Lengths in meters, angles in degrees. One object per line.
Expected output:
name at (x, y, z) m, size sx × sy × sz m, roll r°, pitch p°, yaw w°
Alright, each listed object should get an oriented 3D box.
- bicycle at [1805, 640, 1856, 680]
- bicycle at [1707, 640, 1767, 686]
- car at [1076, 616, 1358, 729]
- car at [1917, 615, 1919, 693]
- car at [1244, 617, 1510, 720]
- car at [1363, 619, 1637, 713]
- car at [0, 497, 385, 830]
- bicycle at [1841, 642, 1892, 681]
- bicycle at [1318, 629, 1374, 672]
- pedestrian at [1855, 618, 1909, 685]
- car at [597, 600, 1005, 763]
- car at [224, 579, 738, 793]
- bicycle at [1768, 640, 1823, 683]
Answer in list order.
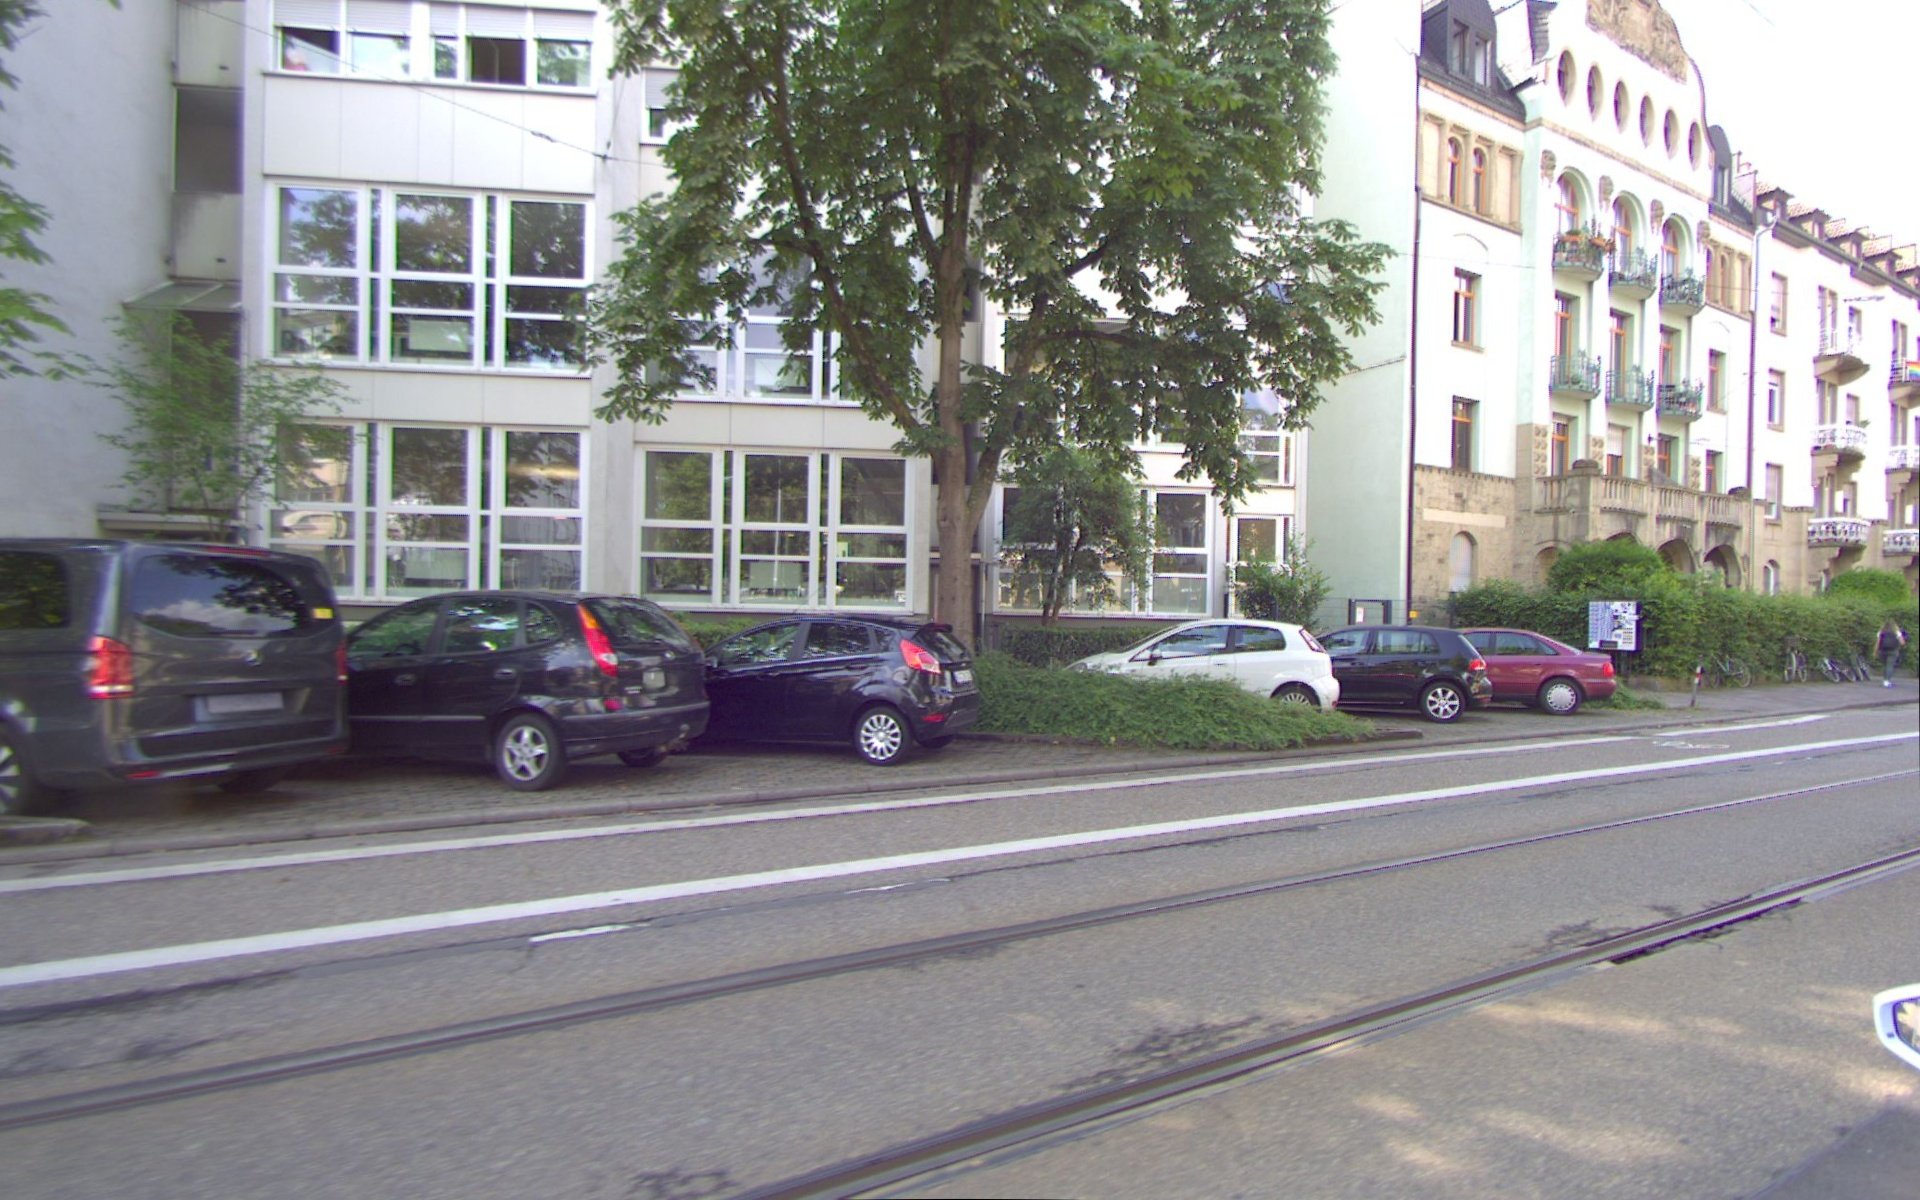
bicycle at (21.923, 1.501, 25.286) m, size 1.788 × 0.972 × 0.381 m, roll 1°, pitch 2°, yaw -30°
bicycle at (17.522, 1.407, 22.635) m, size 1.788 × 0.972 × 0.381 m, roll 1°, pitch 2°, yaw -30°
car at (3.654, 1.013, 14.581) m, size 3.730 × 1.503 × 1.699 m, roll -1°, pitch -2°, yaw 14°
car at (24.467, 1.297, 23.672) m, size 4.832 × 1.786 × 1.774 m, roll 1°, pitch -1°, yaw -34°
car at (6.543, 1.063, 16.091) m, size 3.732 × 1.503 × 1.698 m, roll -1°, pitch -2°, yaw 20°
car at (9.257, 1.122, 17.580) m, size 3.891 × 1.503 × 1.847 m, roll -1°, pitch -2°, yaw 16°
car at (-7.194, 0.436, 7.485) m, size 5.063 × 1.980 × 1.918 m, roll -1°, pitch -2°, yaw 13°
bicycle at (23.762, 1.599, 26.324) m, size 1.898 × 0.972 × 0.381 m, roll 1°, pitch 2°, yaw -30°
bicycle at (10.174, 1.325, 26.456) m, size 1.791 × 1.079 × 0.380 m, roll 1°, pitch 2°, yaw -34°
pedestrian at (22.782, 1.265, 24.816) m, size 0.871 × 1.589 × 0.677 m, roll 1°, pitch 2°, yaw -29°
car at (-1.633, 0.808, 10.695) m, size 3.920 × 1.503 × 1.742 m, roll -1°, pitch -2°, yaw 17°
car at (-4.175, 0.704, 8.955) m, size 3.919 × 1.613 × 1.742 m, roll -1°, pitch -2°, yaw 15°
bicycle at (20.151, 1.468, 24.220) m, size 1.788 × 0.972 × 0.381 m, roll 1°, pitch 2°, yaw -30°
